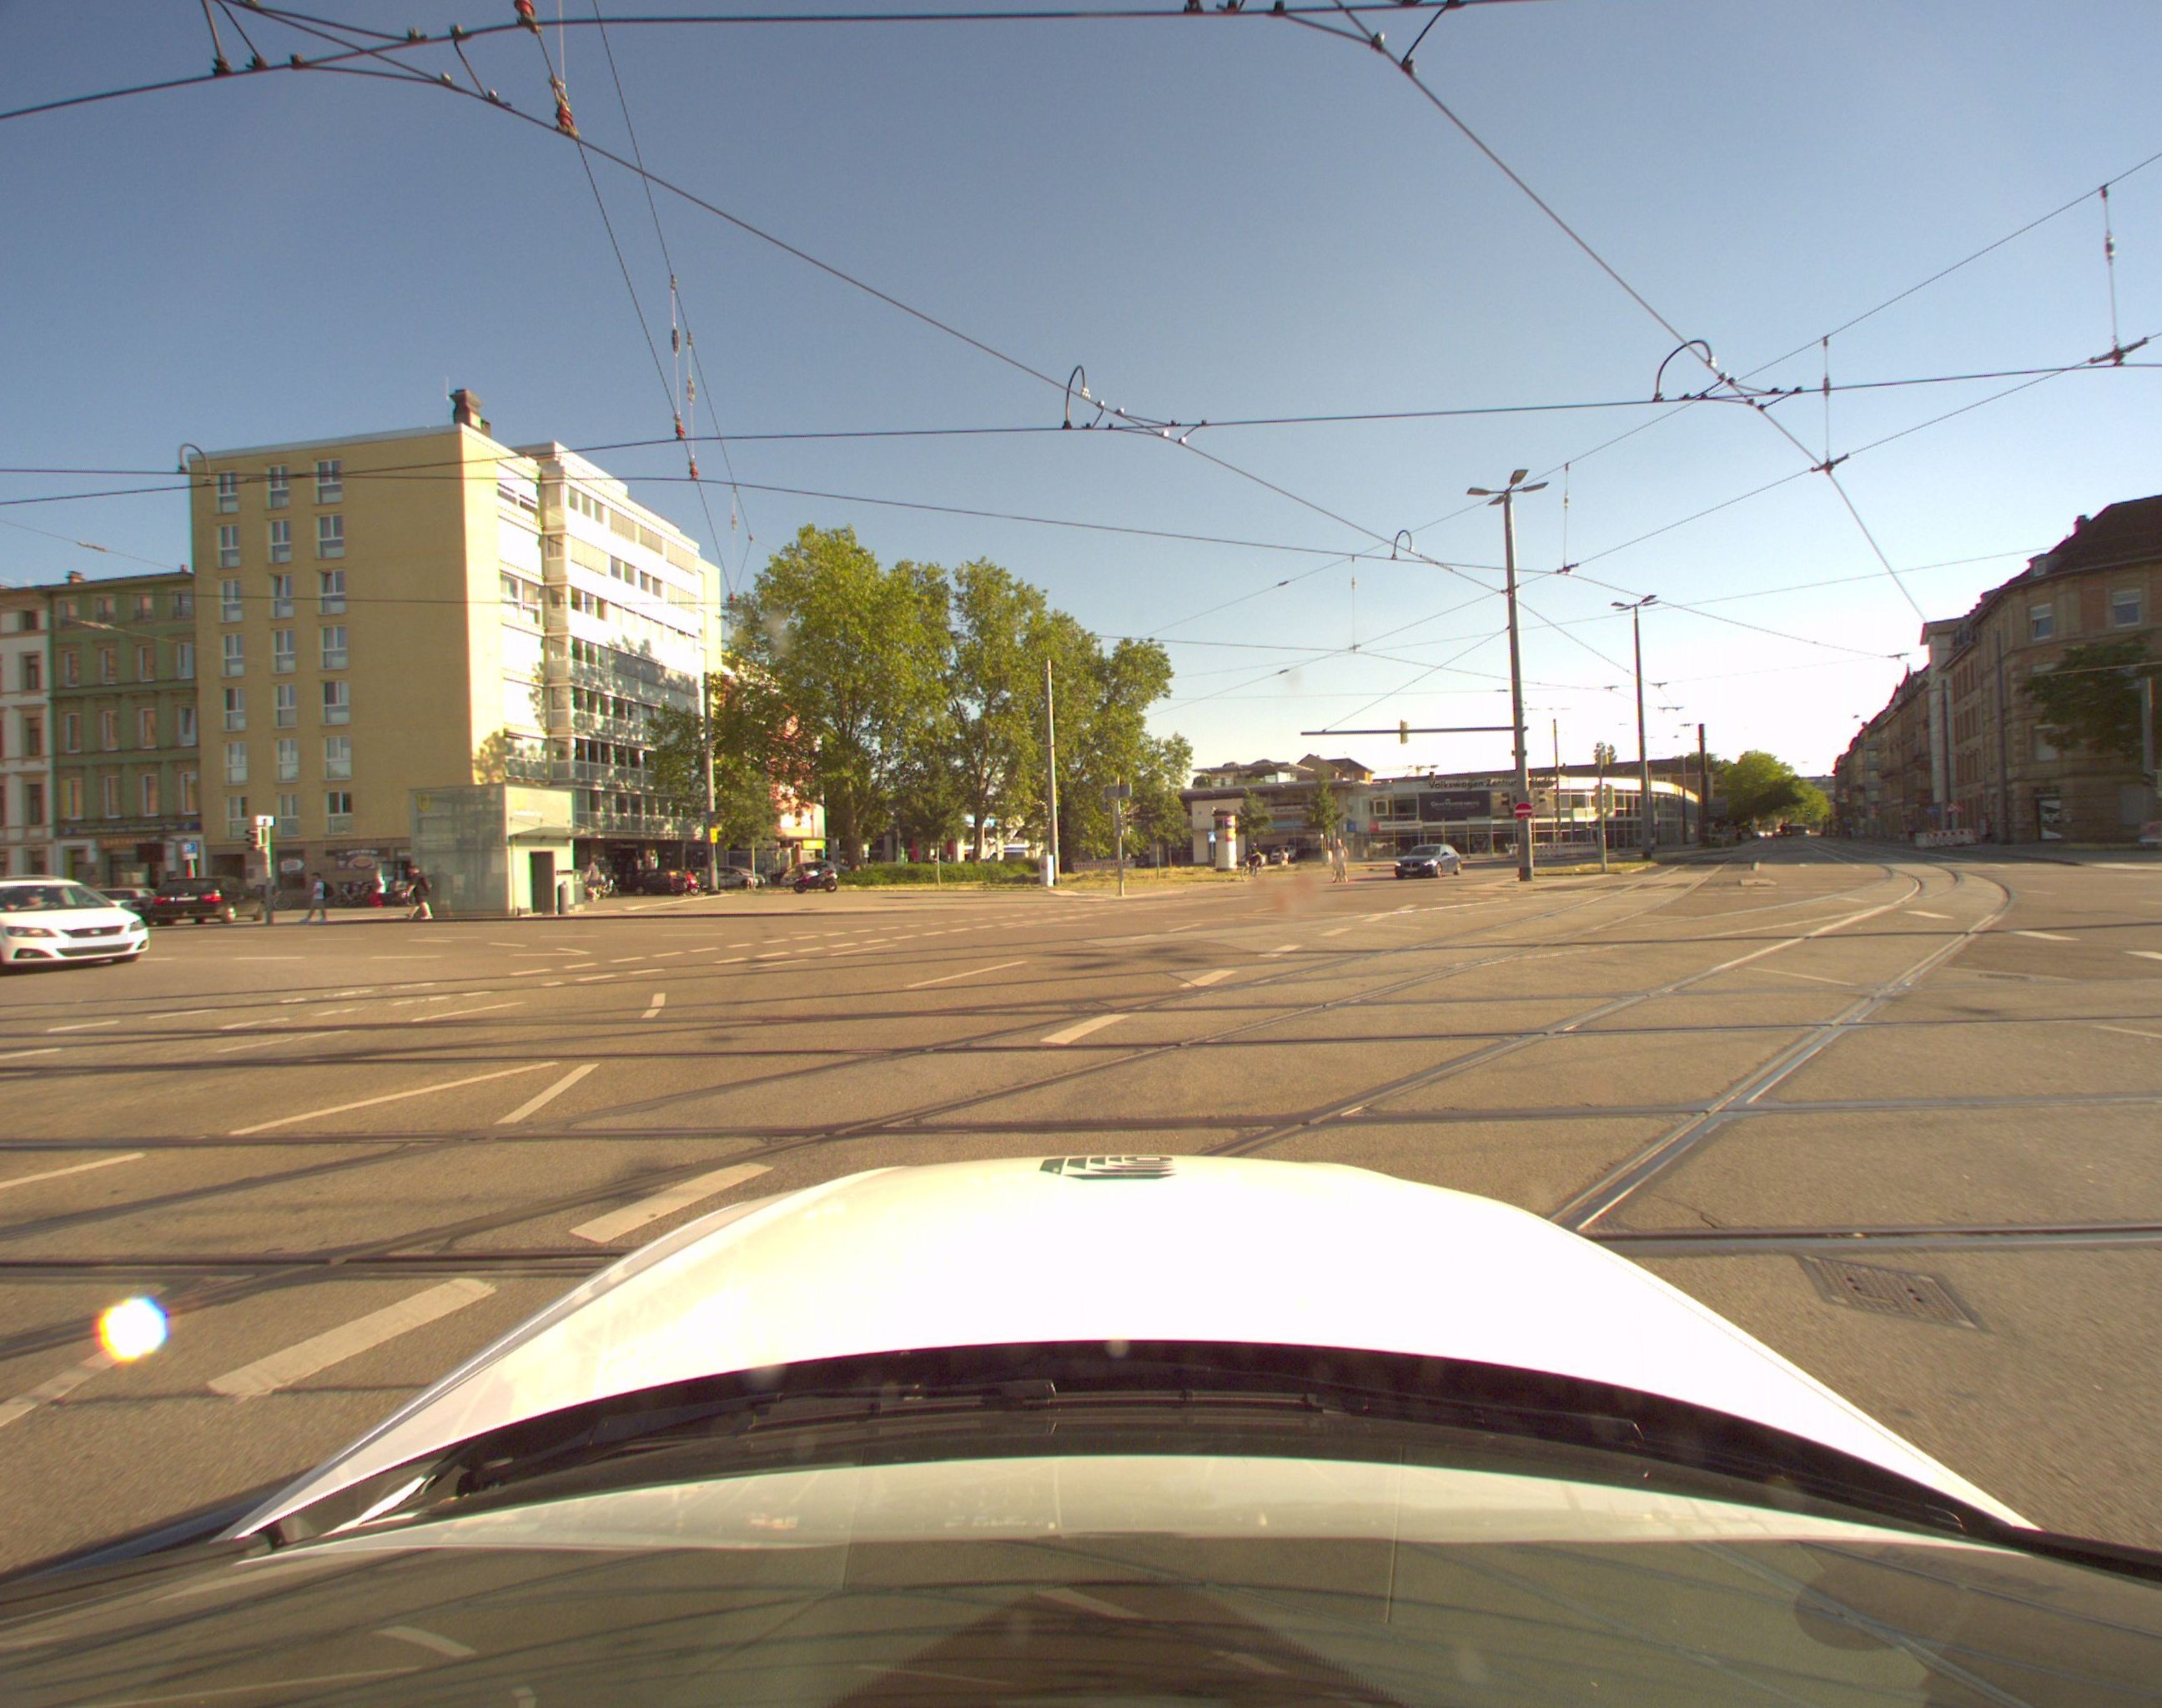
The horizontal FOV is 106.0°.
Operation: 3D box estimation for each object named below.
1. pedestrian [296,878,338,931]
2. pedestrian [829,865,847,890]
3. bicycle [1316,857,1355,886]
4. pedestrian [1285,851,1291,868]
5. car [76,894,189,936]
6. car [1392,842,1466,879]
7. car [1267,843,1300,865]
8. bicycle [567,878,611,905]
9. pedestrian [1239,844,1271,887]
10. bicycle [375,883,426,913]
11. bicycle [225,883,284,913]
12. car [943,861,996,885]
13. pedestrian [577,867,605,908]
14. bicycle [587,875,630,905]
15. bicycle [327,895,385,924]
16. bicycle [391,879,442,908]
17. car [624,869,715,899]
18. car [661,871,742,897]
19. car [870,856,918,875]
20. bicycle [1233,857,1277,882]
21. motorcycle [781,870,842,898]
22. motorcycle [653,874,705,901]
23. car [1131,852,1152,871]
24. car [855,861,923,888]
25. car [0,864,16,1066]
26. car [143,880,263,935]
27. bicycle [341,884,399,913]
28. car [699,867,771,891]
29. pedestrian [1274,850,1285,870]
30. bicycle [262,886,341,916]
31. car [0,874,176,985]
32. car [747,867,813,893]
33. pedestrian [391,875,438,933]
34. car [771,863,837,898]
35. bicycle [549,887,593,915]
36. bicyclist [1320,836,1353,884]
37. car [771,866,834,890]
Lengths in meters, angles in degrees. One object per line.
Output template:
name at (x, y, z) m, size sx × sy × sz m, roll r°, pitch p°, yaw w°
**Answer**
pedestrian at (-26.009, 1.719, 27.734) m, size 0.750 × 1.728 × 0.696 m, roll -2°, pitch 0°, yaw -7°
pedestrian at (-17.459, 1.656, 58.545) m, size 0.878 × 1.737 × 0.907 m, roll 0°, pitch 1°, yaw 12°
bicycle at (11.097, 0.759, 35.453) m, size 1.021 × 1.123 × 2.547 m, roll -4°, pitch -1°, yaw 29°
pedestrian at (16.010, 0.452, 63.038) m, size 0.407 × 1.315 × 0.575 m, roll -2°, pitch 0°, yaw 18°
car at (-35.264, 2.255, 30.412) m, size 1.796 × 1.400 × 3.850 m, roll -1°, pitch -3°, yaw -34°
car at (15.307, 0.249, 35.699) m, size 1.974 × 1.453 × 4.026 m, roll -2°, pitch 0°, yaw 38°
car at (18.887, -0.035, 75.841) m, size 1.975 × 2.013 × 4.025 m, roll 1°, pitch 1°, yaw 30°
bicycle at (-24.728, 1.857, 40.995) m, size 0.809 × 1.200 × 2.001 m, roll -3°, pitch 1°, yaw 4°
pedestrian at (8.509, 0.537, 39.754) m, size 1.021 × 2.013 × 1.278 m, roll 1°, pitch 1°, yaw 41°
bicycle at (-31.635, 2.036, 37.864) m, size 1.884 × 1.248 × 0.661 m, roll -3°, pitch 1°, yaw 6°
bicycle at (-39.821, 2.117, 39.249) m, size 2.206 × 1.357 × 0.936 m, roll 1°, pitch 1°, yaw 12°
car at (-9.161, 1.556, 67.138) m, size 3.965 × 1.868 × 1.861 m, roll 0°, pitch 1°, yaw 7°
pedestrian at (-21.036, 1.433, 34.973) m, size 0.689 × 1.728 × 0.758 m, roll -2°, pitch -1°, yaw 31°
bicycle at (-23.751, 1.790, 40.955) m, size 0.809 × 1.345 × 2.001 m, roll -3°, pitch 1°, yaw 4°
bicycle at (-34.182, 2.604, 38.395) m, size 2.279 × 1.248 × 0.661 m, roll -3°, pitch 1°, yaw 7°
bicycle at (-31.518, 1.862, 38.650) m, size 1.884 × 1.248 × 0.661 m, roll -3°, pitch 1°, yaw 6°
car at (-22.917, 1.660, 45.439) m, size 4.192 × 1.482 × 1.860 m, roll 0°, pitch 1°, yaw 6°
car at (-22.437, 1.760, 48.182) m, size 3.962 × 1.420 × 1.862 m, roll 0°, pitch 1°, yaw 10°
car at (-17.816, 1.080, 77.592) m, size 3.962 × 1.779 × 1.862 m, roll 0°, pitch 1°, yaw 10°
bicycle at (8.524, 0.752, 39.757) m, size 1.021 × 1.123 × 2.547 m, roll 1°, pitch 1°, yaw 40°
motorcycle at (-11.545, 1.272, 34.990) m, size 2.271 × 1.074 × 1.039 m, roll -2°, pitch 1°, yaw -6°
motorcycle at (-17.943, 1.503, 36.377) m, size 1.788 × 1.046 × 0.883 m, roll -3°, pitch 1°, yaw 7°
car at (6.085, 0.741, 82.863) m, size 1.789 × 1.509 × 4.001 m, roll 0°, pitch 5°, yaw -1°
car at (-11.843, 1.238, 50.516) m, size 3.989 × 1.510 × 1.793 m, roll -1°, pitch 1°, yaw -12°
car at (-9.679, 0.974, 4.663) m, size 1.940 × 1.746 × 4.596 m, roll -3°, pitch 0°, yaw -16°
car at (-32.369, 1.943, 30.187) m, size 1.967 × 1.814 × 4.208 m, roll -1°, pitch -2°, yaw -32°
bicycle at (-34.166, 2.117, 39.137) m, size 2.279 × 1.248 × 0.661 m, roll -3°, pitch 1°, yaw 7°
car at (-22.673, 1.644, 53.439) m, size 3.962 × 1.420 × 1.862 m, roll 0°, pitch 1°, yaw 10°
pedestrian at (15.422, 0.447, 63.235) m, size 0.715 × 1.515 × 0.835 m, roll -2°, pitch 0°, yaw 18°
bicycle at (-37.007, 2.221, 38.692) m, size 3.034 × 1.264 × 0.990 m, roll -2°, pitch -1°, yaw 8°
car at (-19.544, 1.337, 15.065) m, size 4.415 × 1.733 × 1.950 m, roll -2°, pitch 2°, yaw 17°
car at (-21.196, 1.814, 57.476) m, size 3.962 × 1.635 × 1.862 m, roll 0°, pitch 1°, yaw 10°
pedestrian at (-20.758, 1.527, 25.382) m, size 0.871 × 1.728 × 0.789 m, roll -2°, pitch 0°, yaw -22°
car at (-16.302, 1.520, 48.177) m, size 1.904 × 1.698 × 4.011 m, roll -4°, pitch 0°, yaw 10°
bicycle at (-25.703, 2.347, 41.086) m, size 0.809 × 1.248 × 2.001 m, roll -3°, pitch 1°, yaw 4°
bicyclist at (11.140, 0.256, 35.474) m, size 1.021 × 2.014 × 1.151 m, roll -4°, pitch -1°, yaw 29°
car at (-20.734, 1.746, 60.719) m, size 3.962 × 1.635 × 1.862 m, roll 0°, pitch 1°, yaw 10°
